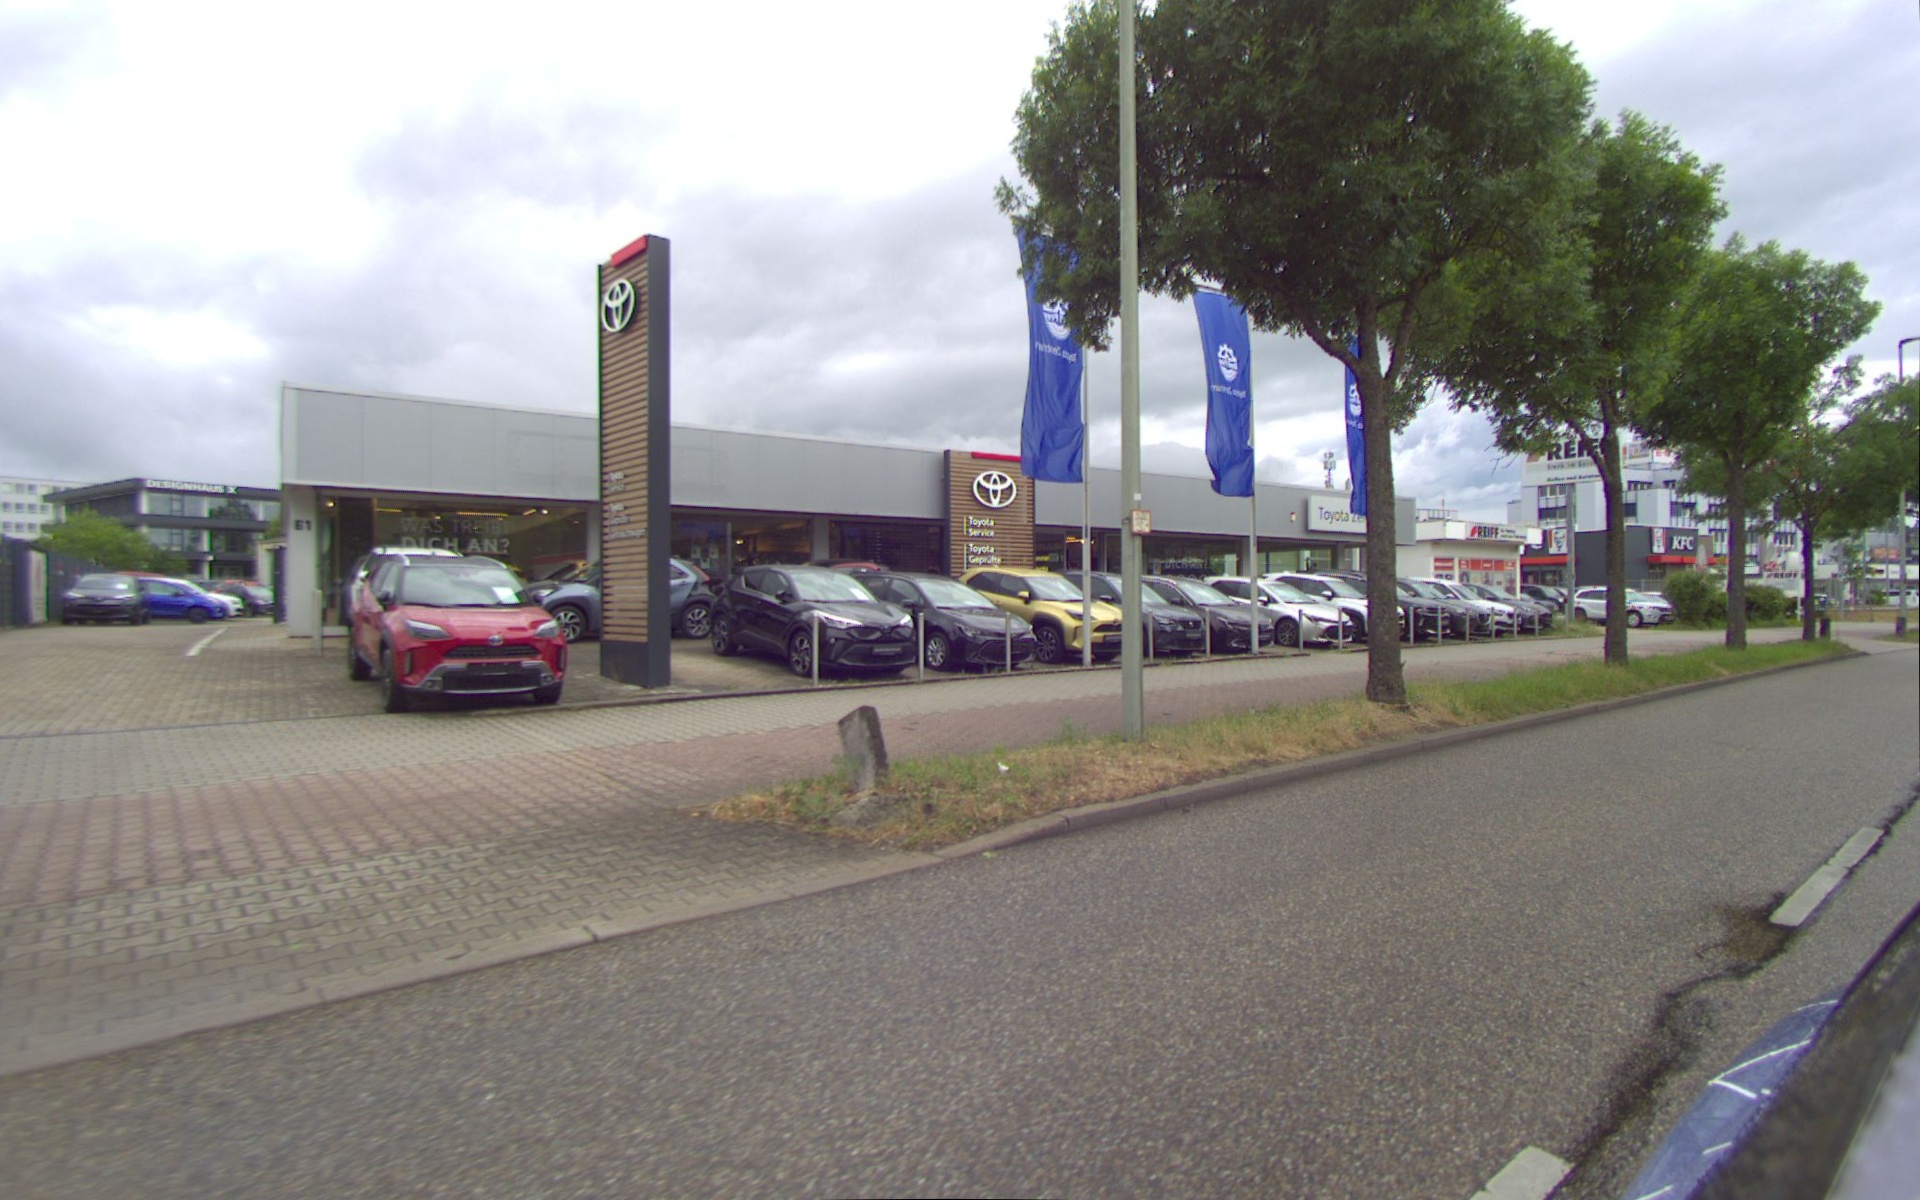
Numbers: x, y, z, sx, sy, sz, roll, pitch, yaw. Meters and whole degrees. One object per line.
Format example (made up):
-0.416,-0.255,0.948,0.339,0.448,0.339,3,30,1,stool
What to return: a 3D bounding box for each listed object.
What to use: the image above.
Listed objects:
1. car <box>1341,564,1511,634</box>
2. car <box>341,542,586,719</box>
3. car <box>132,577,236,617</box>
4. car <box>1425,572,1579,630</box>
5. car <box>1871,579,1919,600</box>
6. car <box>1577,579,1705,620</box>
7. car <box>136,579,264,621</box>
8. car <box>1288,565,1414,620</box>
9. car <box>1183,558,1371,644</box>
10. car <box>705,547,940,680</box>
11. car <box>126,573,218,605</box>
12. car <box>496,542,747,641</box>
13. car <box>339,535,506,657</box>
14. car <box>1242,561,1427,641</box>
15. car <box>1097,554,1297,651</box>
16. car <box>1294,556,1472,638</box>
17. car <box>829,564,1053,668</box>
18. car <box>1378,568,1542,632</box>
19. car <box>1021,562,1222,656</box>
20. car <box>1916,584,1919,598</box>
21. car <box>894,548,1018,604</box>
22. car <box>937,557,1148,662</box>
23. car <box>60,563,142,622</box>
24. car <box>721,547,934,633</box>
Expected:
13.235,-0.080,28.959,1.778,1.603,4.002,0,5,-36,car
-5.835,0.198,11.646,1.763,1.623,3.852,0,3,-38,car
-29.472,-0.104,38.494,3.093,1.473,1.336,0,-1,-40,car
17.040,-0.005,31.965,1.795,1.478,3.844,0,5,-39,car
91.787,-1.048,98.041,1.958,2.039,4.797,1,1,-22,car
28.178,-0.047,42.021,1.943,1.617,4.077,0,1,-18,car
-25.983,0.002,34.647,3.429,1.383,1.464,0,-1,-40,car
16.438,-0.357,42.745,1.929,2.176,4.664,0,1,-39,car
7.517,-0.052,24.343,1.778,1.808,4.001,0,3,-36,car
-2.258,0.099,15.771,1.811,1.667,3.999,0,4,-39,car
-36.107,-0.504,46.426,3.277,1.388,1.336,0,-1,-40,car
-6.255,-0.190,18.884,4.047,1.641,1.880,0,2,-38,car
-8.488,-0.143,15.785,1.844,1.641,4.124,0,2,-34,car
9.504,-0.027,25.918,1.780,1.606,3.999,1,5,-40,car
5.070,-0.021,22.110,1.778,1.808,4.001,0,4,-36,car
11.334,-0.141,27.364,1.778,1.807,4.002,0,5,-36,car
-0.432,0.198,17.287,1.767,1.558,3.997,0,1,-39,car
15.046,-0.053,30.644,1.778,1.561,4.002,0,5,-36,car
3.194,0.103,20.730,1.679,1.565,4.001,0,4,-36,car
98.966,-0.867,101.287,1.785,1.411,4.384,0,1,-23,car
-0.182,-0.725,30.349,1.643,1.555,3.998,0,1,-37,car
1.436,0.089,18.931,1.638,1.584,3.848,0,5,-41,car
-25.634,-0.204,30.235,1.756,1.664,3.658,1,-1,-40,car
-2.729,-0.243,21.298,4.047,1.641,1.880,0,2,-38,car
